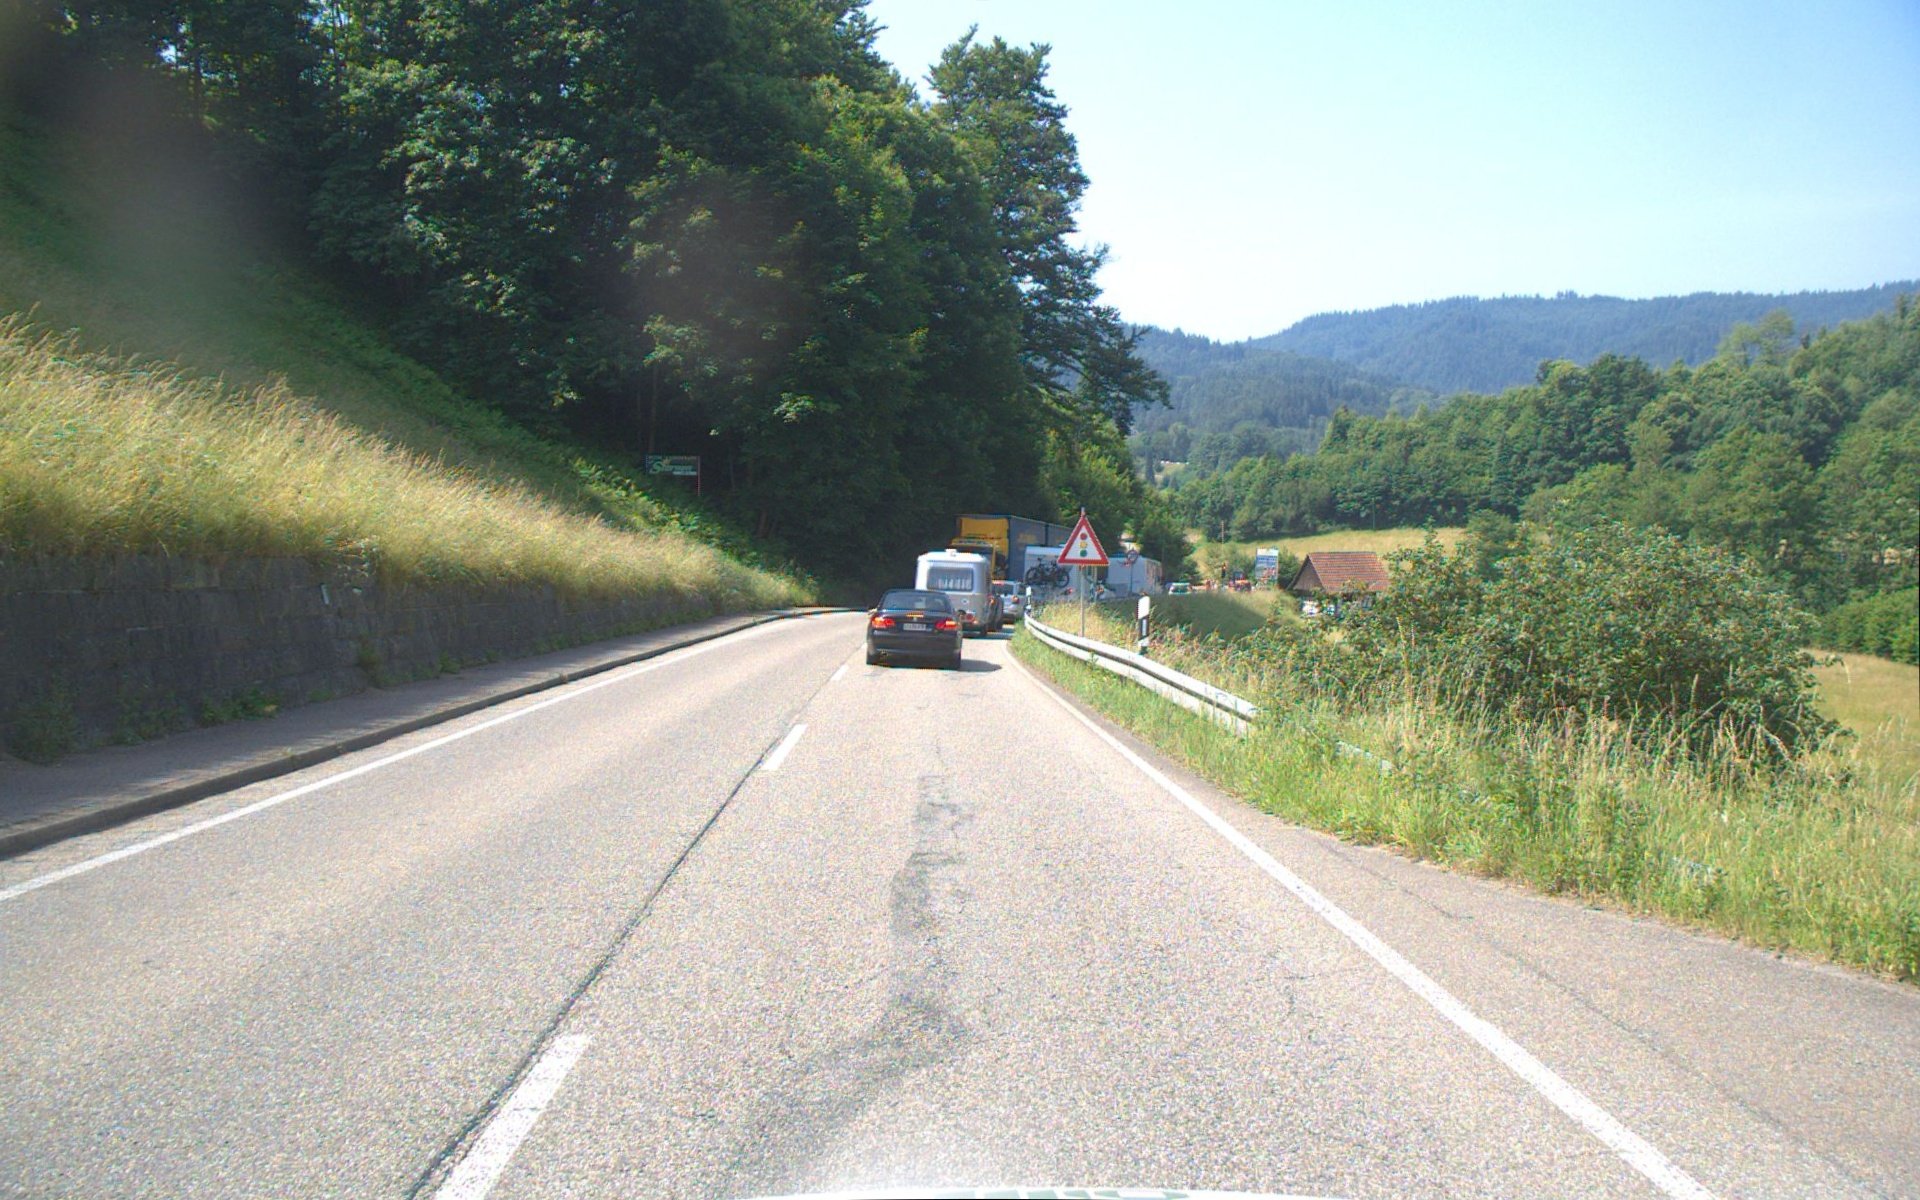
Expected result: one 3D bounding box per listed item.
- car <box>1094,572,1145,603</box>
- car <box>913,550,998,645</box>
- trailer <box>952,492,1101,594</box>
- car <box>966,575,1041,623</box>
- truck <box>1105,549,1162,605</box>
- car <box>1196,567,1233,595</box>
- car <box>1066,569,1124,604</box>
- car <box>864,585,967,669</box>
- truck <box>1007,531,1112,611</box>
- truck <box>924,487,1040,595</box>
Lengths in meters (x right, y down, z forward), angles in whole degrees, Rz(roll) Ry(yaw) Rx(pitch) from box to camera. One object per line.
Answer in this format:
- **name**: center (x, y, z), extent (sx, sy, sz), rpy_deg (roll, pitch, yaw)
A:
- **car**: center (8.291, -0.661, 85.778), extent (1.750, 1.489, 4.002), rpy_deg (4, 2, 17)
- **car**: center (-0.066, -0.128, 45.892), extent (1.952, 2.393, 4.917), rpy_deg (2, 2, 4)
- **trailer**: center (3.575, -2.657, 81.537), extent (3.192, 4.493, 15.323), rpy_deg (3, 1, 18)
- **car**: center (1.576, -0.048, 58.190), extent (1.951, 1.509, 4.004), rpy_deg (4, 1, 10)
- **truck**: center (9.748, -1.255, 92.498), extent (2.190, 2.852, 6.236), rpy_deg (3, 0, 14)
- **car**: center (19.090, -1.425, 124.083), extent (1.953, 1.958, 4.002), rpy_deg (4, 2, 19)
- **car**: center (6.487, -0.663, 79.216), extent (1.952, 1.489, 4.003), rpy_deg (4, 2, 16)
- **car**: center (-0.836, 0.445, 30.491), extent (1.735, 1.359, 3.766), rpy_deg (2, 1, -2)
- **truck**: center (4.337, -1.218, 70.587), extent (2.733, 3.049, 6.872), rpy_deg (4, 2, 17)
- **truck**: center (1.085, -2.578, 73.840), extent (3.122, 4.472, 6.574), rpy_deg (3, 2, 18)
